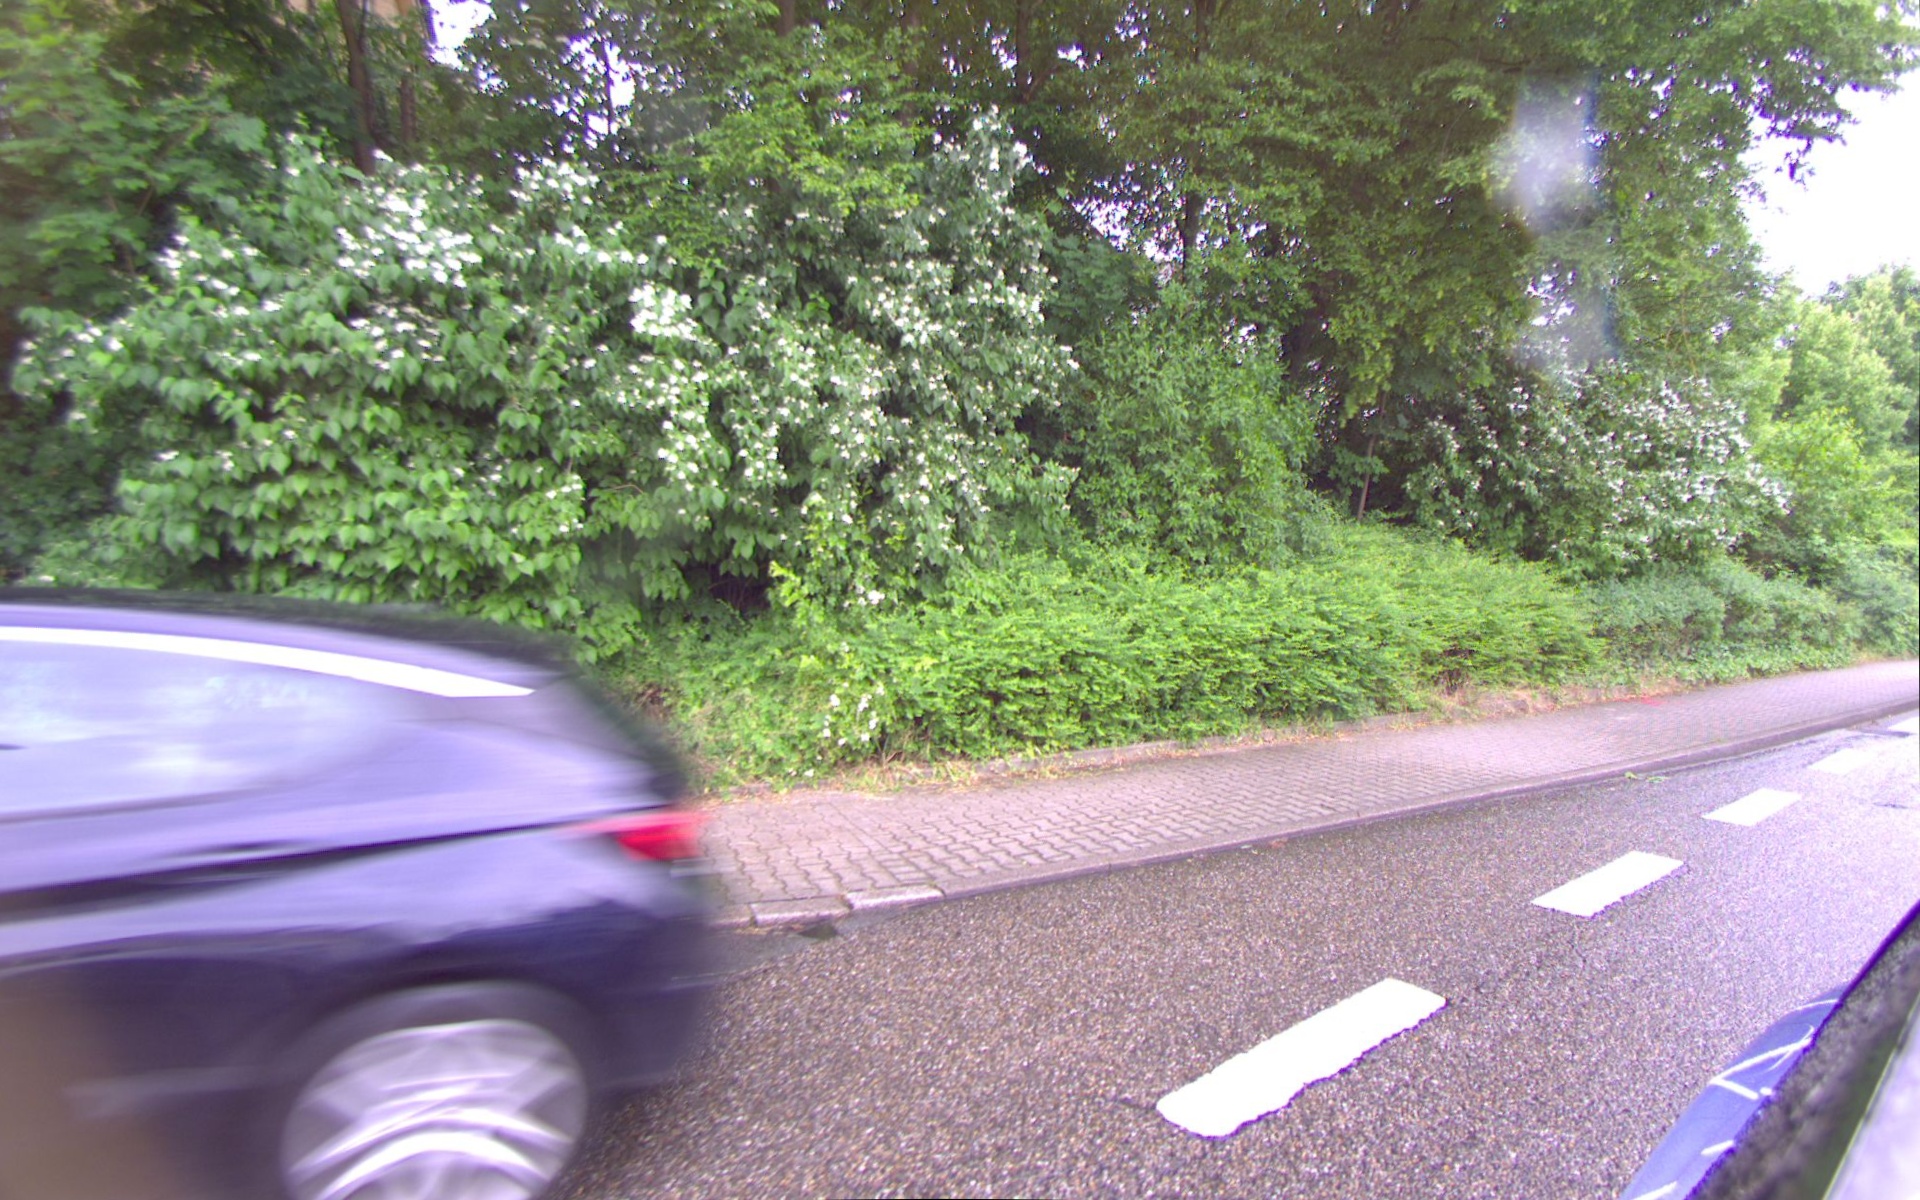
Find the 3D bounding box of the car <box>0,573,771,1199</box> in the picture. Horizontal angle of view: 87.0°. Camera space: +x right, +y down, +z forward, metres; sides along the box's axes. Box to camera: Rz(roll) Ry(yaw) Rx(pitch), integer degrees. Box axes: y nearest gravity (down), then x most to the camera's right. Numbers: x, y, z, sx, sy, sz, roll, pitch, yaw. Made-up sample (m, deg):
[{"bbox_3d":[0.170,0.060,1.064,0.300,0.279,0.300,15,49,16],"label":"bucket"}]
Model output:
[{"bbox_3d":[-2.676,0.663,2.437,4.075,1.461,1.821,0,0,-22],"label":"car"}]
